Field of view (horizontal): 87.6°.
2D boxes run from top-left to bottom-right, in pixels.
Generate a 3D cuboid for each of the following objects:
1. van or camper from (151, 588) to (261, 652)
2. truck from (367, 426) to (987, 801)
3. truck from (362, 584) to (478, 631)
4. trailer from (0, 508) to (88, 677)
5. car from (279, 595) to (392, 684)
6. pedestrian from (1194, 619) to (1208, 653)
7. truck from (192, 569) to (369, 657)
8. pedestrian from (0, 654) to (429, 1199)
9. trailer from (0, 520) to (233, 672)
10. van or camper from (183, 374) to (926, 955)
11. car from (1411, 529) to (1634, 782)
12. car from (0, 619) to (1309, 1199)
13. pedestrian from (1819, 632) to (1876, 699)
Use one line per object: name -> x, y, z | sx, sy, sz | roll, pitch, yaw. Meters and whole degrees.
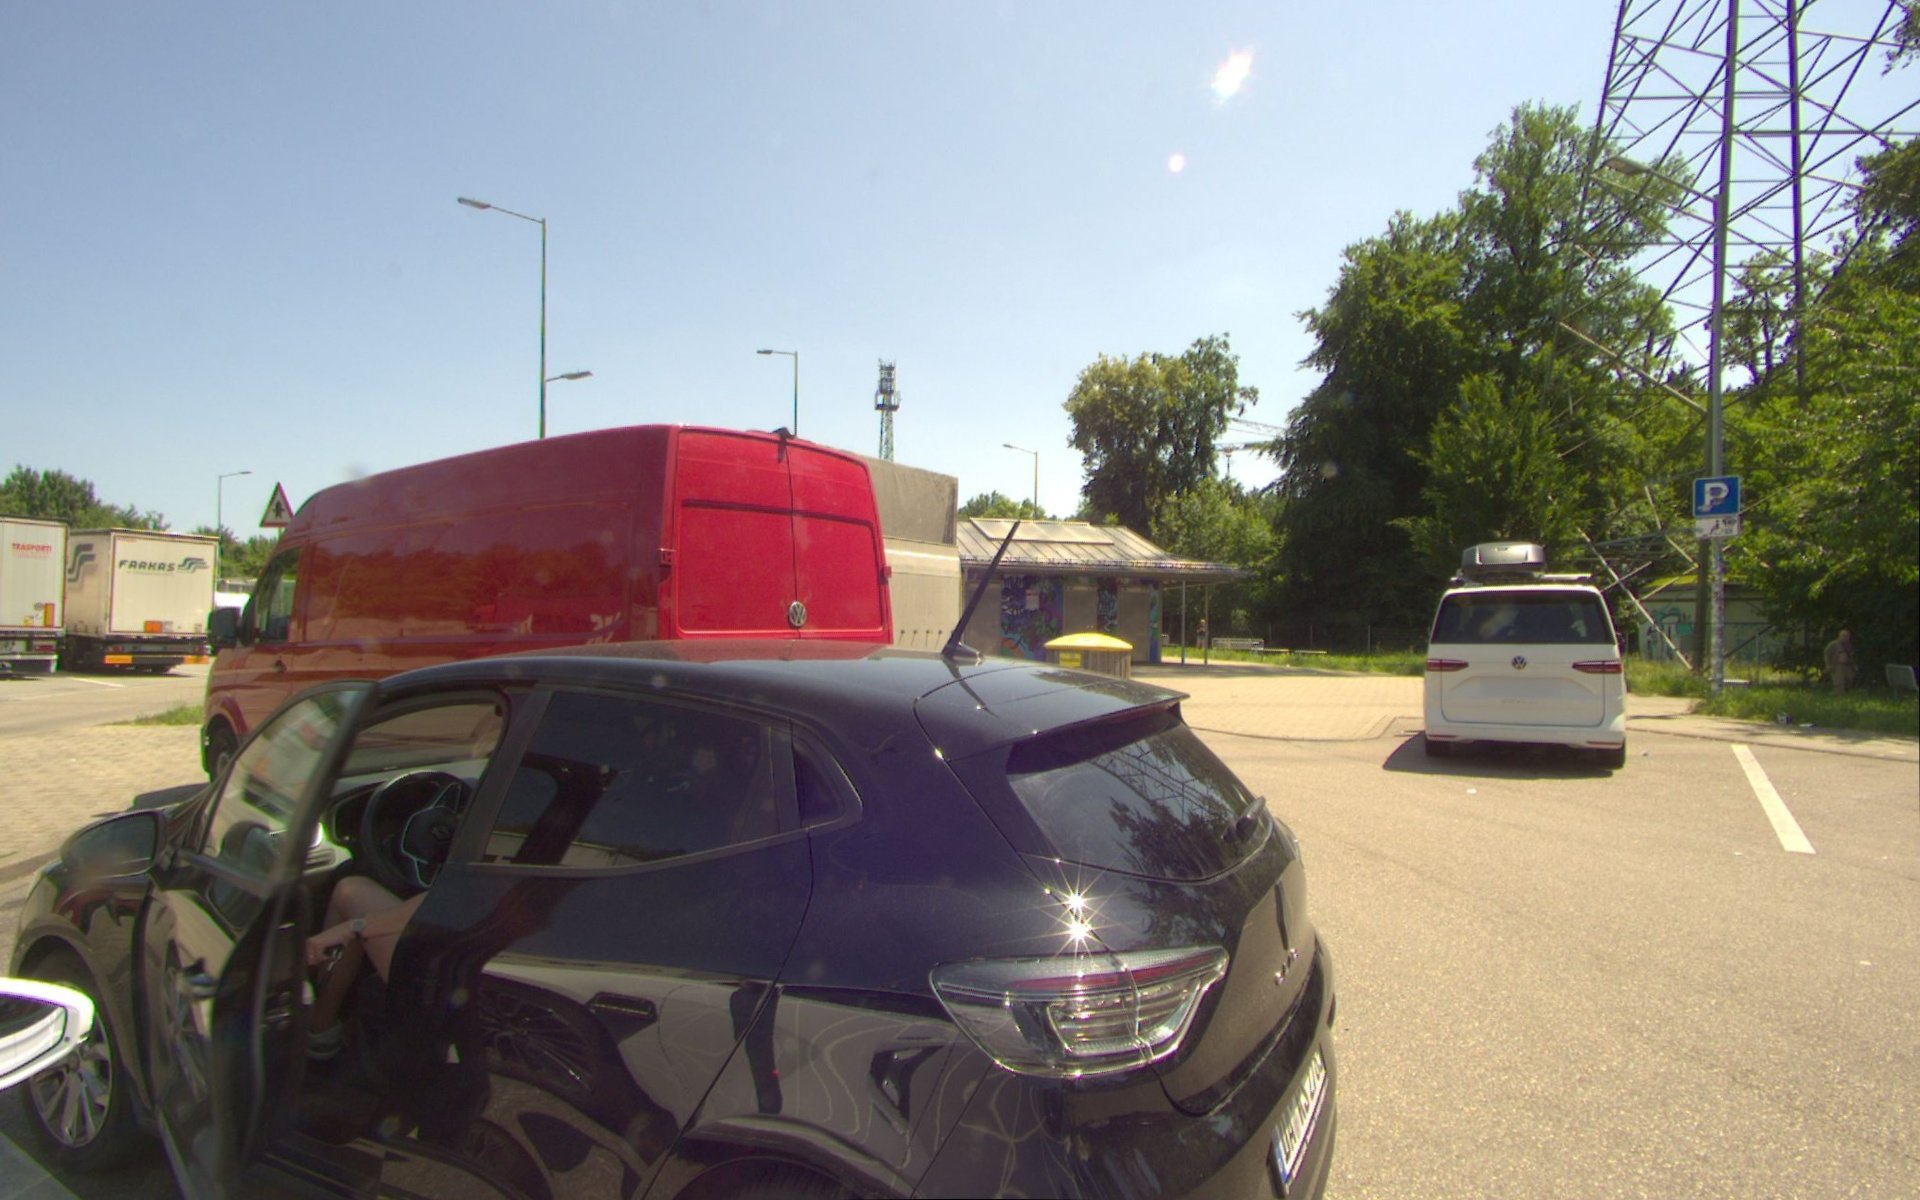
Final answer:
van or camper -> -32.189, 0.824, 42.695 | 5.296, 2.595, 2.100 | 0, -1, 34
truck -> -3.274, 0.133, 10.550 | 6.874, 2.828, 2.460 | 0, -1, 35
truck -> -34.744, 0.470, 64.264 | 9.637, 2.857, 2.121 | 0, -1, 32
trailer -> -28.371, -0.329, 27.786 | 12.255, 4.090, 2.862 | 2, -1, 33
car -> -16.983, 1.006, 27.109 | 1.978, 2.178, 5.269 | 1, -1, -39
pedestrian -> 10.975, 1.620, 45.666 | 0.582, 1.536, 0.588 | 1, 0, 11
truck -> -31.712, 0.509, 46.462 | 11.255, 3.615, 2.484 | 2, -1, 33
pedestrian -> -1.739, 0.943, 2.337 | 0.642, 1.606, 0.649 | 1, 0, -2
trailer -> -27.310, -0.198, 31.451 | 12.255, 4.090, 2.862 | 2, -1, 33
van or camper -> -3.378, 0.324, 7.344 | 6.394, 2.688, 1.990 | 0, -1, 36
car -> 6.527, 0.568, 11.551 | 1.892, 2.354, 4.074 | -1, -1, 32
car -> -1.071, 0.834, 2.836 | 3.706, 1.503, 1.615 | 0, -1, 27
pedestrian -> 18.891, 1.375, 21.324 | 0.696, 1.392, 0.607 | 1, 0, 16
